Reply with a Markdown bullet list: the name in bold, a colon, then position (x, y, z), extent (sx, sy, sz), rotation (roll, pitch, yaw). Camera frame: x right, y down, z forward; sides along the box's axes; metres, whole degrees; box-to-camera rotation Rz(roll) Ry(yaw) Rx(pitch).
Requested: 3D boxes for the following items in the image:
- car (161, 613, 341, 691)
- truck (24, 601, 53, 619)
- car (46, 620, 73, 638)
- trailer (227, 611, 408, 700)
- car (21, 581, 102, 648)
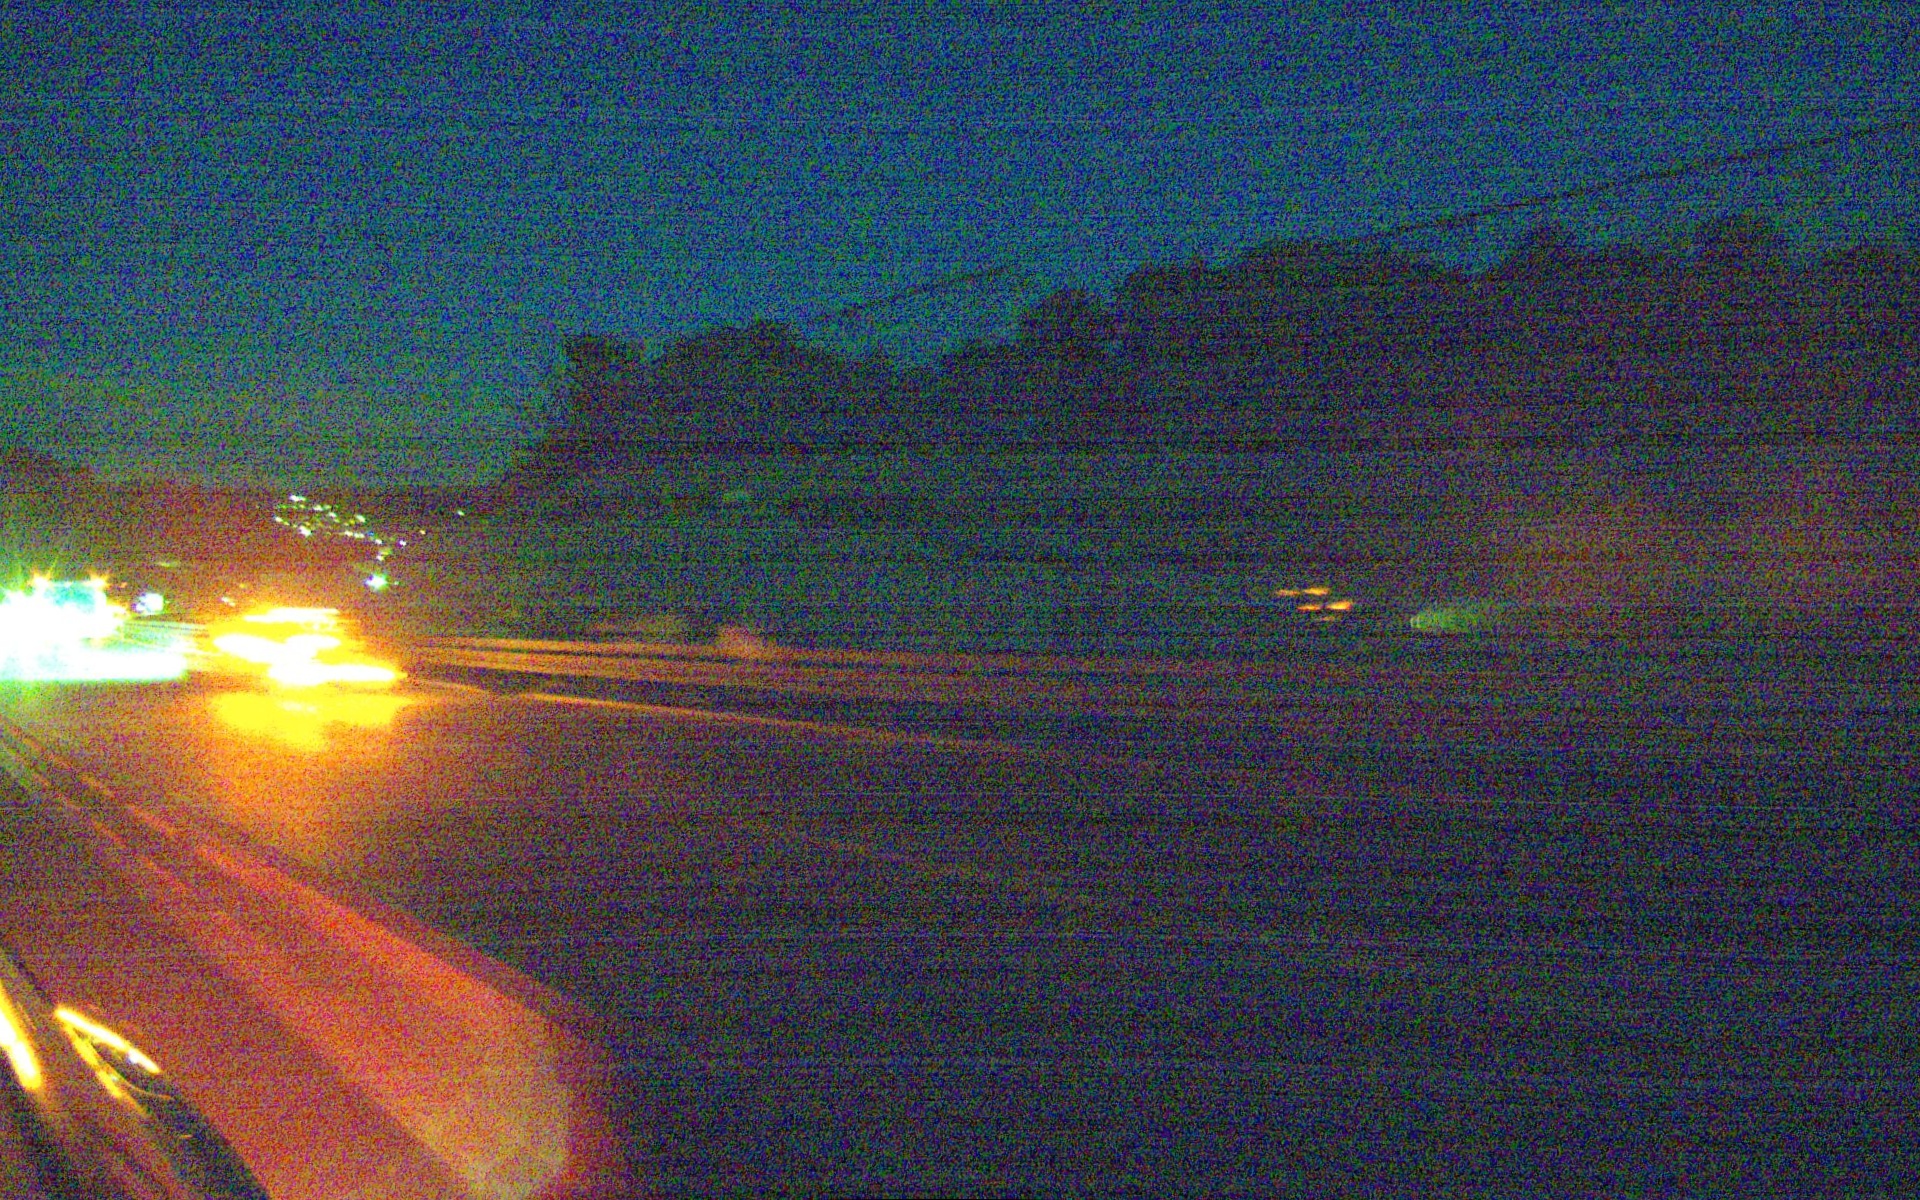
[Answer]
- **car**: position (-14.733, 1.016, 20.916), extent (4.949, 1.437, 1.893), rotation (-1, -2, 41)
- **truck**: position (-130.563, 1.469, 143.419), extent (2.389, 2.443, 7.107), rotation (1, -1, -37)
- **car**: position (-78.367, 2.514, 88.093), extent (1.663, 1.470, 4.207), rotation (1, -1, -40)
- **trailer**: position (-11.580, 0.945, 18.188), extent (3.348, 1.437, 1.864), rotation (-1, -2, 41)
- **car**: position (-45.053, 0.661, 50.680), extent (7.388, 3.129, 2.458), rotation (0, -1, 44)
